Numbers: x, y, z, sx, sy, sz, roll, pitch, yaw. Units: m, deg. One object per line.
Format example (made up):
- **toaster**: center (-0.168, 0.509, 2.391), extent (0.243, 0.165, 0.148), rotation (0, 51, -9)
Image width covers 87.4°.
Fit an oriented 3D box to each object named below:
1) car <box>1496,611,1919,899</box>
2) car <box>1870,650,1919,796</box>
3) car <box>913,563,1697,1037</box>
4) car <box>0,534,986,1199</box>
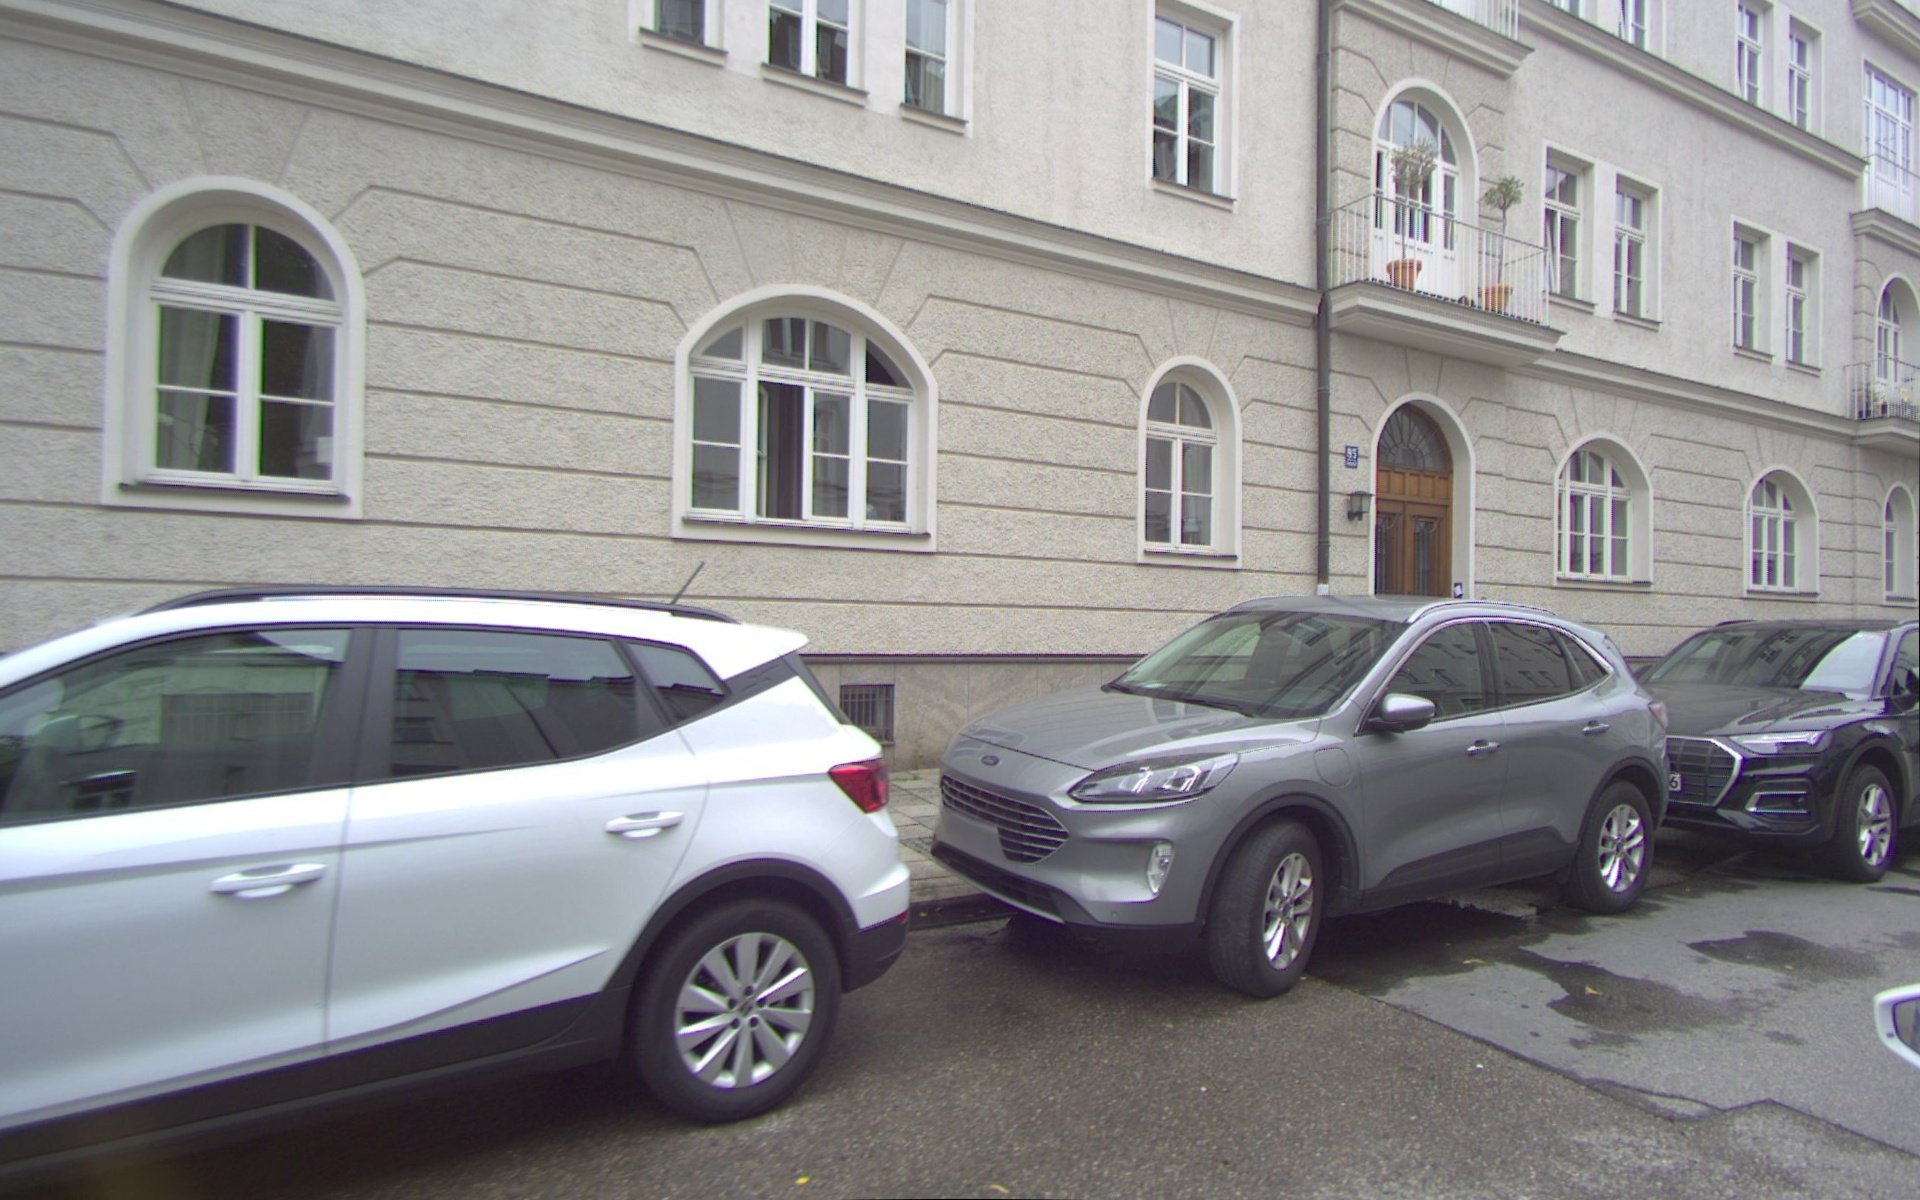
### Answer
- **car**: center (6.272, 0.933, 7.541), extent (4.378, 1.620, 1.869), rotation (1, -1, -28)
- **car**: center (11.354, 1.243, 10.358), extent (4.040, 1.425, 1.648), rotation (2, -3, -28)
- **car**: center (2.006, 0.775, 5.487), extent (4.165, 1.700, 1.827), rotation (2, -1, -31)
- **car**: center (-2.010, 0.688, 2.926), extent (3.910, 1.588, 1.684), rotation (3, -2, -34)
